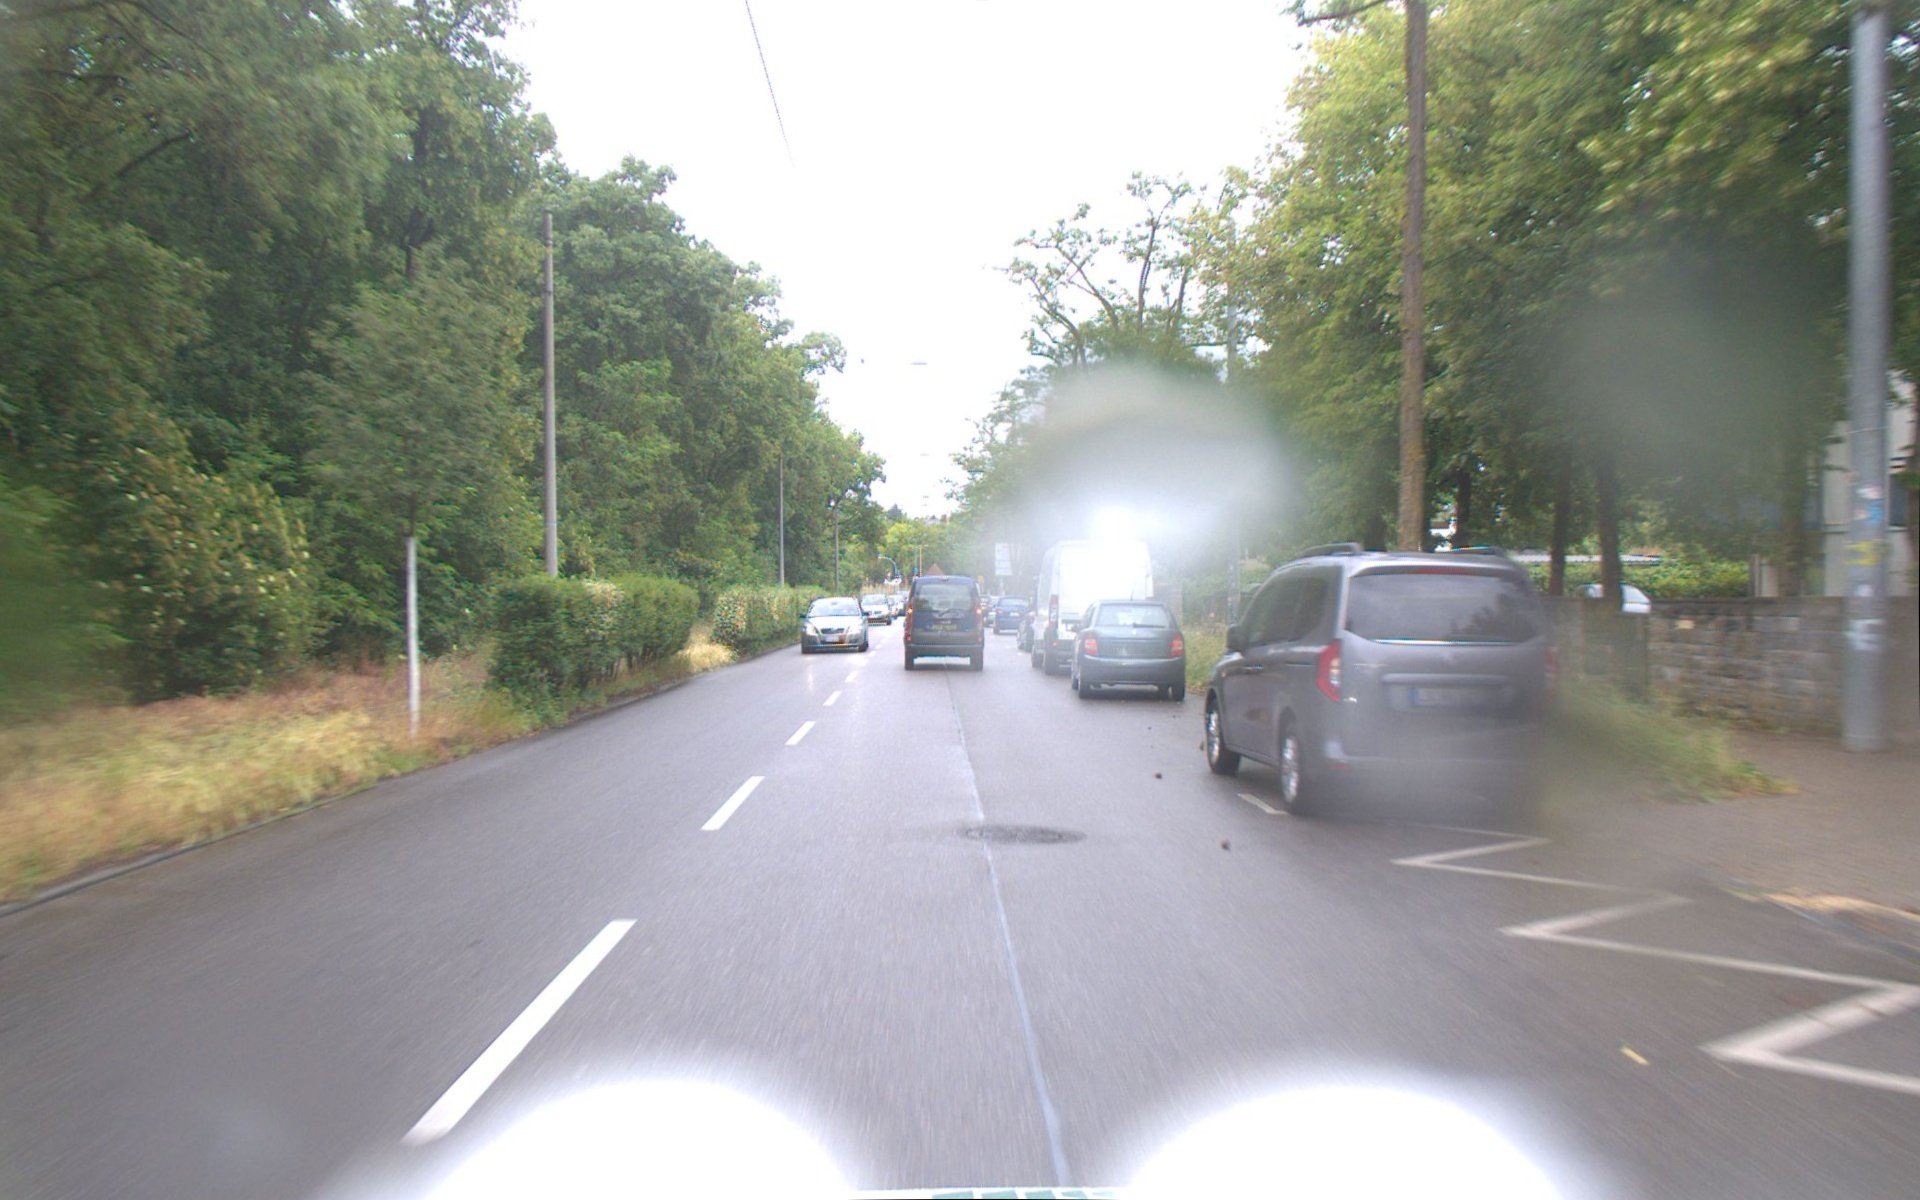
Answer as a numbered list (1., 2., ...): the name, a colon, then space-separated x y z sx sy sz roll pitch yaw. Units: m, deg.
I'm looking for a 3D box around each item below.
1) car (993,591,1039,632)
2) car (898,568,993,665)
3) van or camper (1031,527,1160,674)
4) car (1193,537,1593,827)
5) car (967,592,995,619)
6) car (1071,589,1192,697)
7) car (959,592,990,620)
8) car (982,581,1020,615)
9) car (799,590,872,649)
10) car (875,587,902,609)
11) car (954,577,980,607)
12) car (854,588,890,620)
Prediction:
1. car: 2.214 0.445 66.302 1.686 1.532 4.050 1 1 -1
2. car: -0.355 0.296 33.991 1.732 1.862 3.539 1 1 -4
3. van or camper: 2.640 -0.039 33.539 2.036 2.697 5.345 1 1 -1
4. car: 3.100 0.494 12.806 1.778 1.845 4.281 1 1 -3
5. car: 1.290 0.325 102.065 1.663 1.551 3.868 1 1 1
6. car: 2.596 0.606 25.673 1.592 1.489 3.809 1 1 2
7. car: 0.824 0.316 95.615 1.600 1.536 2.956 1 1 -2
8. car: 1.948 -0.109 79.472 1.585 1.534 3.833 1 1 -2
9. car: -3.361 0.533 45.284 1.747 1.505 3.966 -1 -1 -1
10. car: -5.373 -0.159 124.241 1.818 1.494 4.446 -3 1 0
11. car: 0.564 -0.669 143.331 2.160 2.492 4.728 -1 0 -1
12. car: -4.523 0.175 85.860 1.695 1.518 3.999 -2 1 -1
